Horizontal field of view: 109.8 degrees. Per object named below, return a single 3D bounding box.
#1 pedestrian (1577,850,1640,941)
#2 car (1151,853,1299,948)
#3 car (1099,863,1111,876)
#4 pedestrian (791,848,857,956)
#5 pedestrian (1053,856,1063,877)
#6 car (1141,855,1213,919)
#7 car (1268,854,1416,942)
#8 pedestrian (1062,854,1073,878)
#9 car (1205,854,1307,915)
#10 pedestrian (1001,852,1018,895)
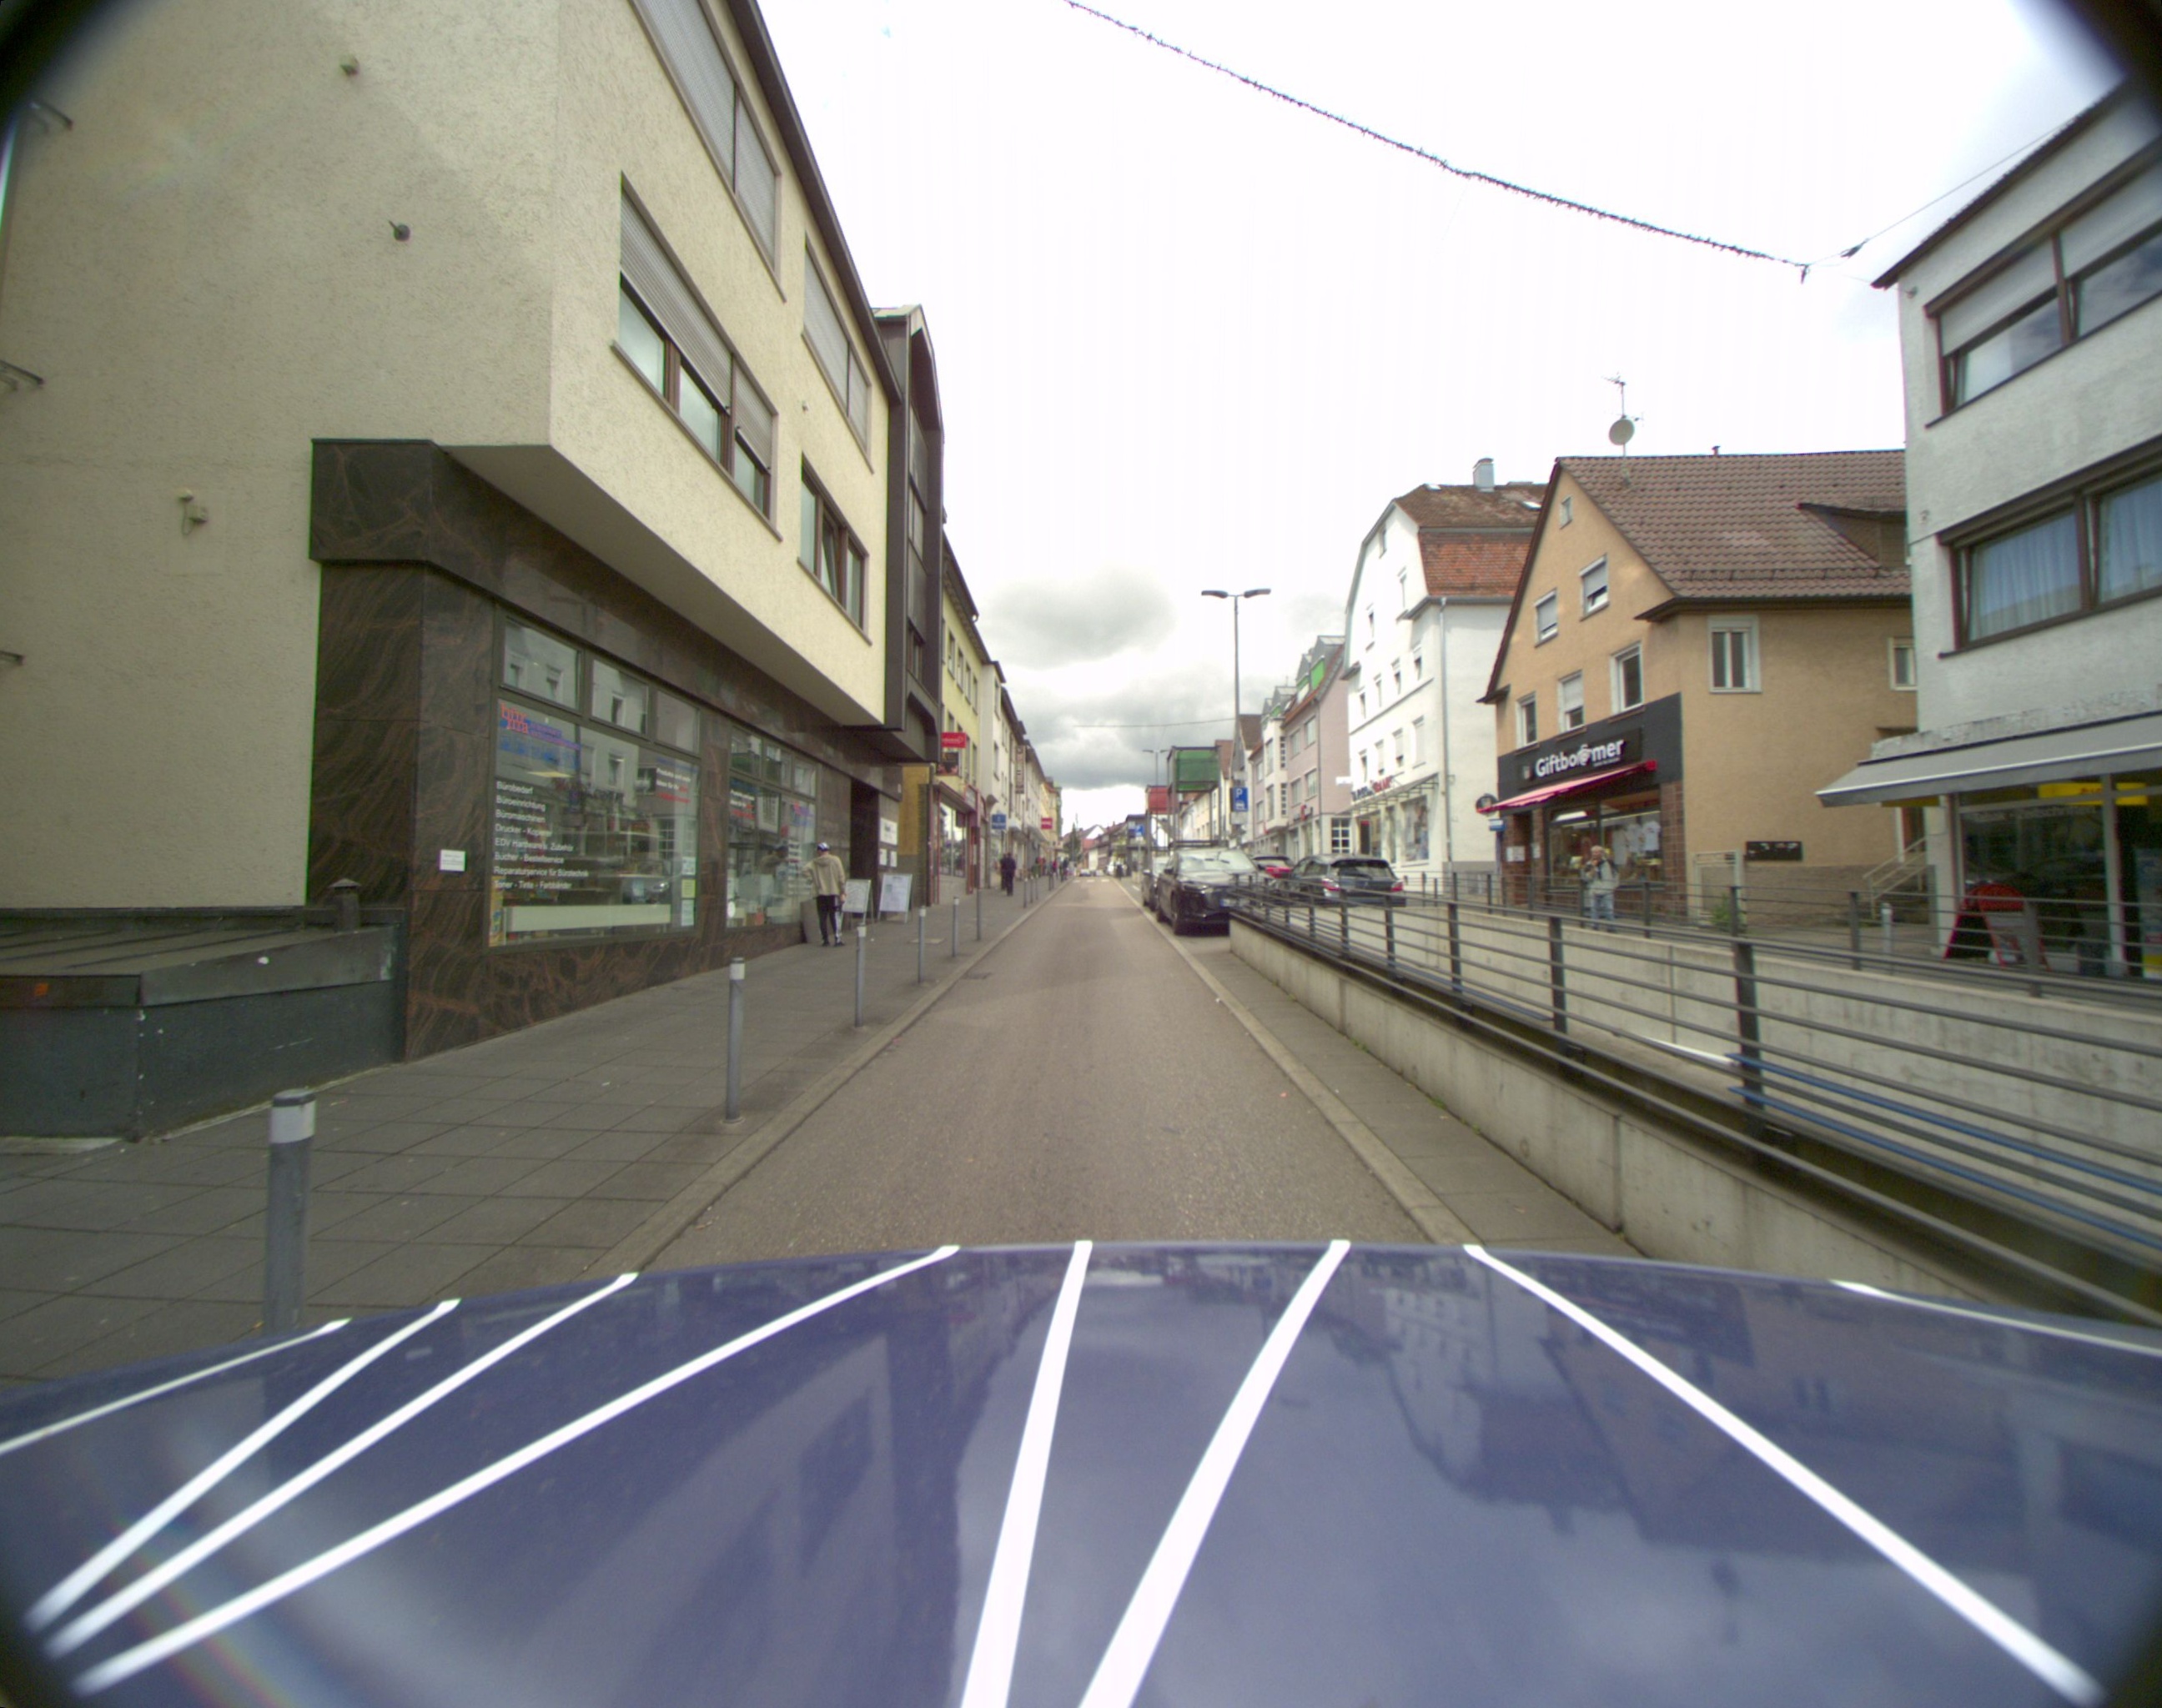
[{"bbox_3d":[10.173,0.784,14.681,0.748,1.704,0.664,0,1,1],"label":"pedestrian"},{"bbox_3d":[2.668,0.787,15.201,1.999,1.557,4.431,-2,0,-1],"label":"car"},{"bbox_3d":[3.943,2.535,125.533,1.998,2.002,4.000,0,0,1],"label":"car"},{"bbox_3d":[-4.126,0.753,12.248,0.760,1.663,0.780,2,0,-2],"label":"pedestrian"},{"bbox_3d":[-1.698,0.883,55.604,0.663,1.519,0.705,0,1,-6],"label":"pedestrian"},{"bbox_3d":[2.626,0.850,21.397,1.577,1.600,3.533,-2,0,1],"label":"car"},{"bbox_3d":[5.154,0.787,15.549,1.703,1.538,3.898,-2,0,1],"label":"car"},{"bbox_3d":[-1.003,0.917,56.260,0.761,1.764,0.851,0,1,-6],"label":"pedestrian"},{"bbox_3d":[5.045,0.814,22.575,1.998,1.580,4.494,-2,0,1],"label":"car"},{"bbox_3d":[-2.817,0.765,29.860,0.639,1.689,0.708,0,1,-5],"label":"pedestrian"}]
